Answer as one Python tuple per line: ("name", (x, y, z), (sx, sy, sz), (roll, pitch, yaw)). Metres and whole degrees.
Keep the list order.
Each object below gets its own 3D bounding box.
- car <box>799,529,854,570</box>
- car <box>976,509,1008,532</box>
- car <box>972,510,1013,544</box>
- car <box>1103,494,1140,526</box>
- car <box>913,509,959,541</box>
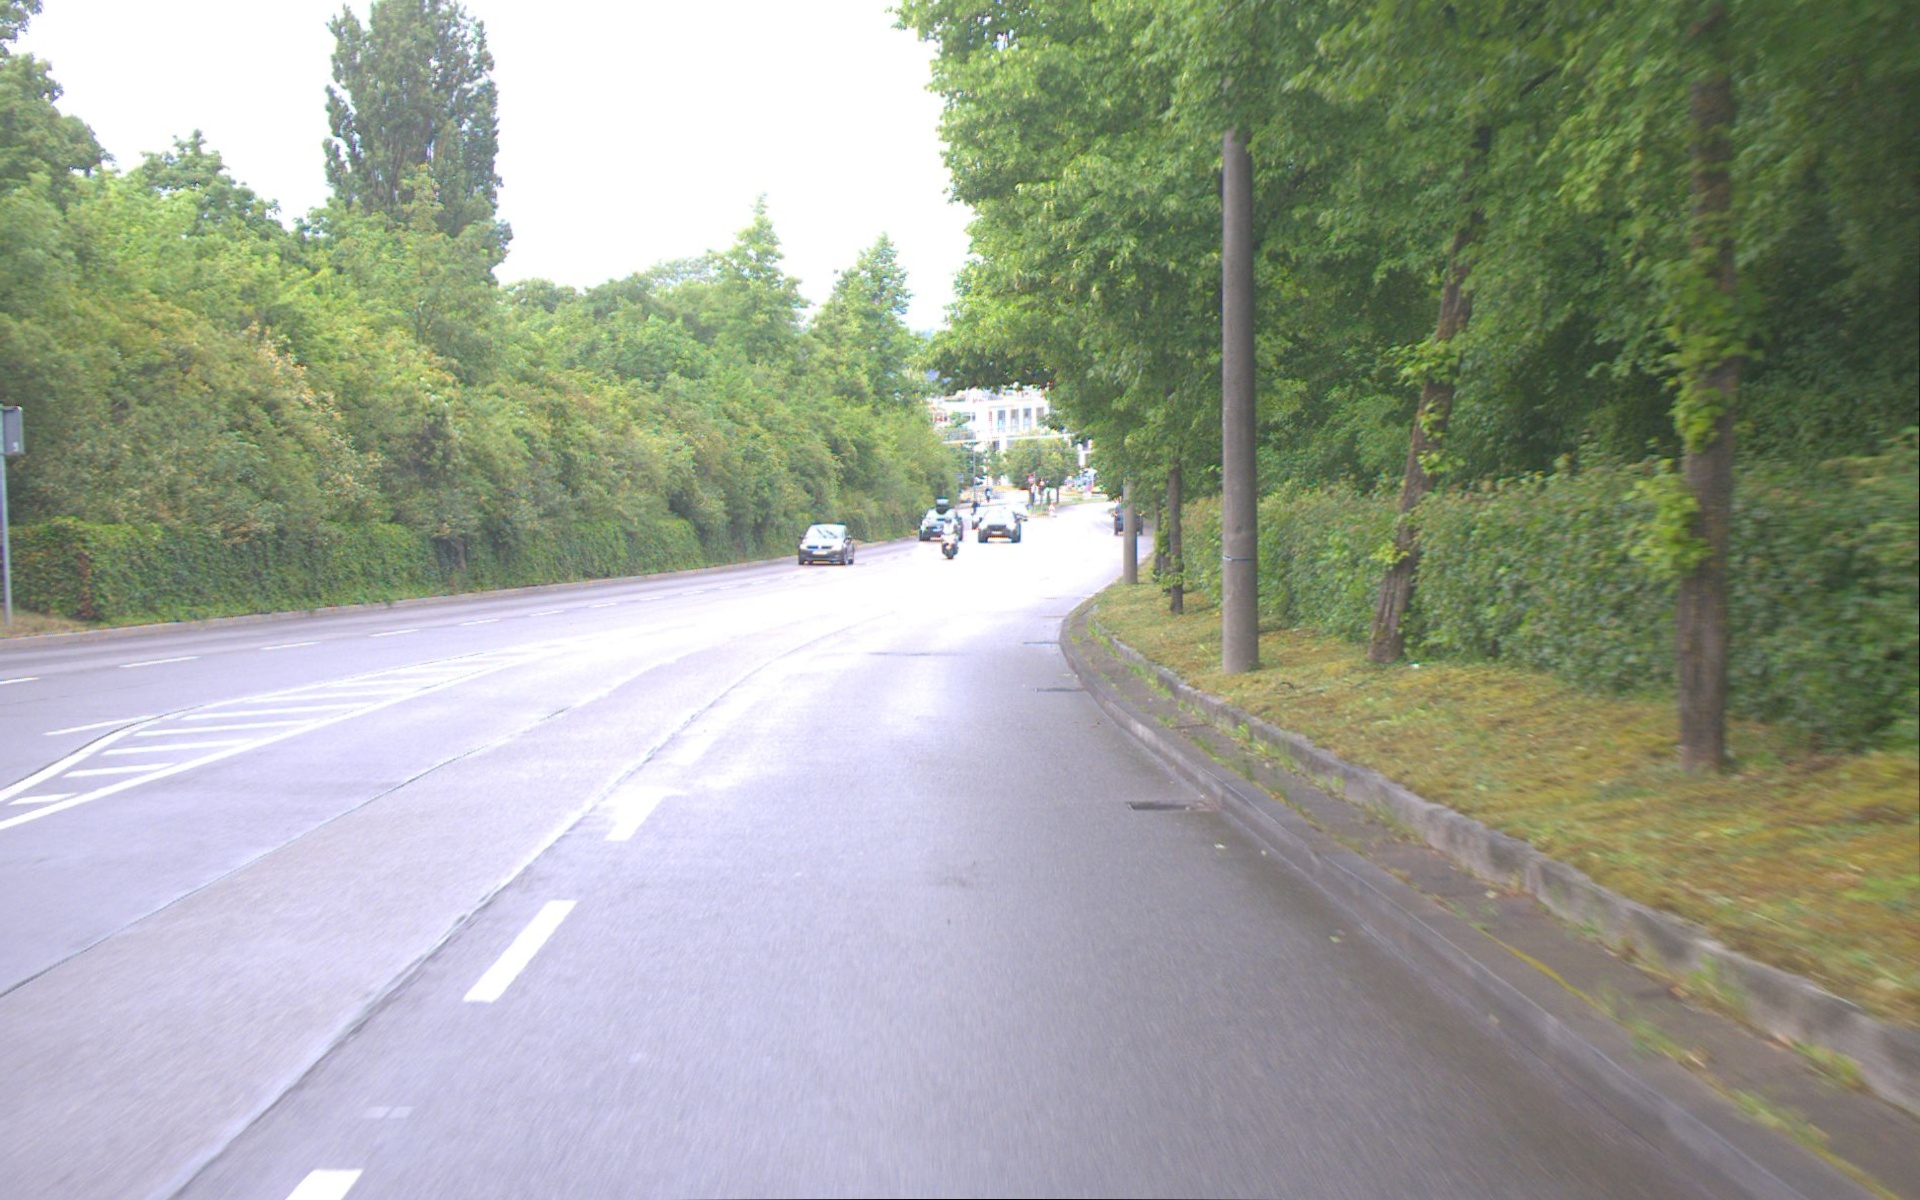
("car", (-4.668, -1.785, 120.719), (1.549, 1.432, 3.696), (0, 1, 4))
("car", (2.059, -5.166, 221.969), (1.760, 1.376, 4.838), (1, 2, 4))
("car", (1.634, -3.662, 171.421), (1.812, 1.652, 4.595), (0, 1, 4))
("car", (9.239, -5.135, 196.515), (1.850, 1.696, 3.792), (1, 1, 7))
("car", (-1.203, -3.776, 173.421), (1.899, 1.547, 4.630), (1, 1, 5))
